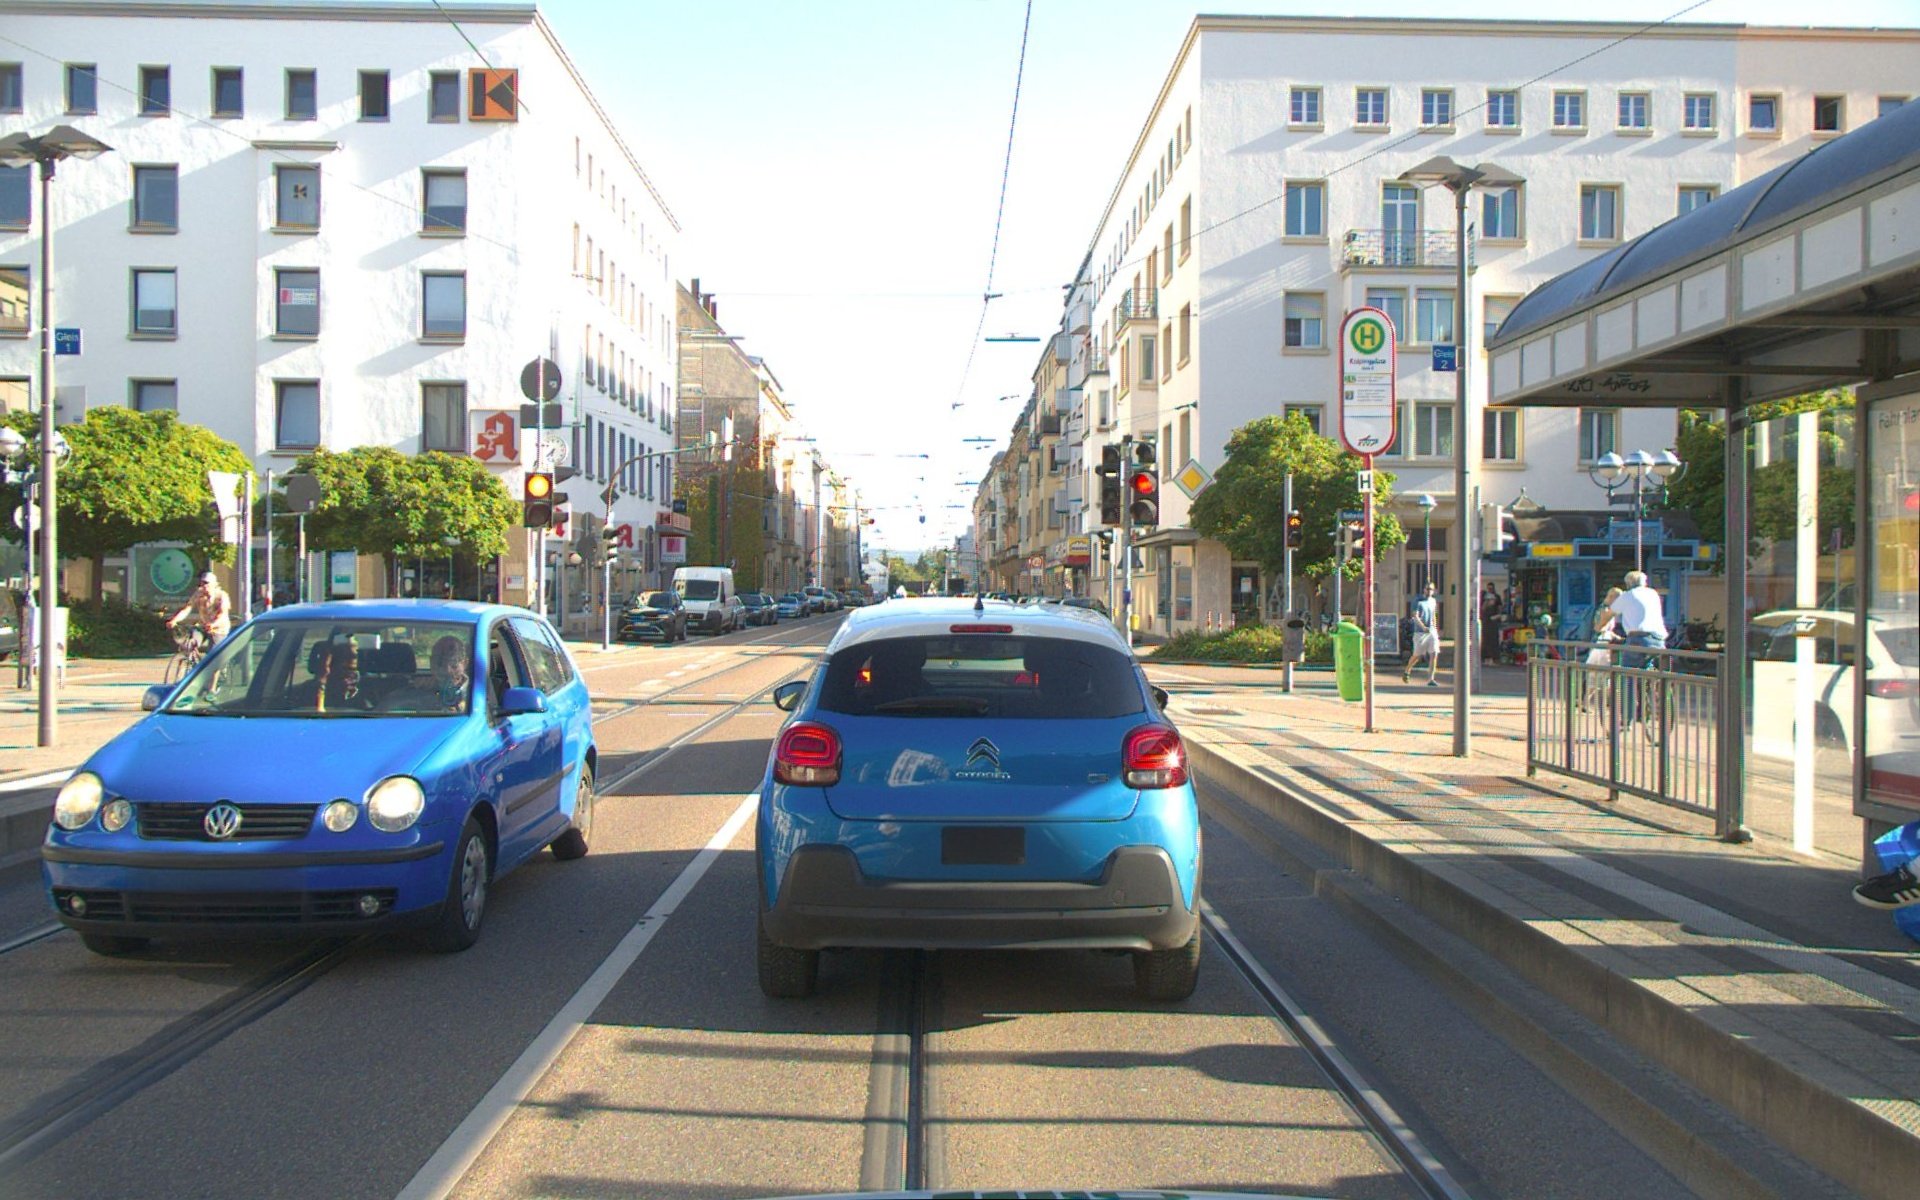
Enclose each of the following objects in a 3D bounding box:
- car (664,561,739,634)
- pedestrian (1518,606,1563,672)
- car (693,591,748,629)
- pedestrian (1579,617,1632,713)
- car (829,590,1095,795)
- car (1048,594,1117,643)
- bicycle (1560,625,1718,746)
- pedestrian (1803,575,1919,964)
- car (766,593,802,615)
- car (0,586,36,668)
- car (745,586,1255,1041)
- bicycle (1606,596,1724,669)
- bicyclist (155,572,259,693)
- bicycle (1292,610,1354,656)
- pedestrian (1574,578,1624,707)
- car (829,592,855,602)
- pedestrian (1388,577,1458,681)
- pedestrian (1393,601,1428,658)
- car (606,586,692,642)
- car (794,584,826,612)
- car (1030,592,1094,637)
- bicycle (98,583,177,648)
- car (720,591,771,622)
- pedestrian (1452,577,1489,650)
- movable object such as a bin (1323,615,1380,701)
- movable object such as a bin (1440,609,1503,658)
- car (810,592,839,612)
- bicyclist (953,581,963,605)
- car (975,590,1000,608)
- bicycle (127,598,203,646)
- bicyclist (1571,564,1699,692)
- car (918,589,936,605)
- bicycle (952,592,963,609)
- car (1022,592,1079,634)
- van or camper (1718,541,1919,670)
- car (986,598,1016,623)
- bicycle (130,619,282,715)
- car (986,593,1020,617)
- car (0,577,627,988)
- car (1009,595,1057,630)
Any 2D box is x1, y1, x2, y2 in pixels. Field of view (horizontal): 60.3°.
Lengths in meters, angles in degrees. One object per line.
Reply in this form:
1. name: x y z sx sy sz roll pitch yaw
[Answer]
1. car: -9.740 -0.111 62.761 2.043 2.586 6.203 1 0 -2
2. pedestrian: 13.092 0.874 37.306 0.715 1.434 0.755 0 3 -1
3. car: -10.054 0.400 69.604 1.850 1.522 3.560 1 0 -2
4. pedestrian: 8.597 0.860 22.048 0.546 1.247 0.527 1 -1 10
5. car: -0.022 0.679 14.660 1.944 1.490 4.814 1 0 -1
6. car: 3.860 0.560 52.643 1.870 1.489 4.000 0 0 0
7. bicycle: 6.890 0.835 16.911 0.703 1.080 2.324 2 0 2
8. pedestrian: 3.583 0.568 5.553 0.978 1.246 0.923 3 -1 -1
9. car: -10.965 0.264 103.212 1.953 1.348 3.921 1 0 -2
10. car: -22.394 0.571 35.634 3.906 1.736 1.825 0 0 -1
11. car: 0.105 0.715 7.482 1.693 1.508 3.826 1 0 -1
12. bicycle: 15.884 0.725 37.293 2.336 1.558 0.726 2 0 -2
13. bicyclist: -9.487 0.403 20.852 0.810 1.481 0.878 1 -1 10
14. bicycle: 9.422 0.854 42.952 1.534 1.140 0.300 1 -1 10
15. pedestrian: 8.994 0.593 23.287 0.546 1.775 0.527 1 -1 10
16. car: -13.190 -0.332 184.833 1.951 1.176 4.518 0 0 8
17. pedestrian: 8.670 0.539 31.028 0.961 1.910 1.128 0 -1 -3
18. pedestrian: 10.750 0.700 39.477 0.725 1.339 0.628 0 0 22
19. car: -9.796 0.446 52.464 1.953 1.596 4.401 3 0 -2
20. car: -11.492 -0.115 126.860 1.965 2.049 4.690 1 0 1
21. car: 3.506 0.480 57.215 1.953 1.489 4.000 0 0 0
22. bicycle: -21.341 0.399 42.994 0.605 1.635 2.621 0 0 3
23. car: -10.074 0.308 78.008 1.953 1.422 4.155 1 0 -2
24. pedestrian: 13.220 0.355 42.847 0.768 1.871 0.678 0 0 2
25. movable object such as a bin: 3.730 0.549 15.770 0.439 0.800 0.489 0 0 2
26. movable object such as a bin: 12.544 0.812 40.634 1.174 1.173 1.217 0 0 0
27. car: -11.201 0.148 136.662 1.914 1.579 3.939 1 0 1
28. bicyclist: -0.188 -0.602 142.570 0.793 2.049 0.922 1 -1 -1
29. car: 2.180 -0.082 133.499 1.953 1.489 4.000 0 0 0
30. bicycle: -20.632 0.557 42.981 0.605 1.211 2.621 0 0 2
31. bicyclist: 6.913 0.276 16.985 0.931 1.247 0.934 2 0 2
32. car: -3.581 -0.352 181.851 1.953 1.803 3.999 0 0 -1
33. bicycle: -0.225 0.033 142.600 0.901 1.413 3.131 0 0 -1
34. car: 3.409 0.472 63.180 1.953 1.527 4.000 0 0 0
35. van or camper: 20.974 0.090 36.947 6.976 2.795 2.371 0 1 0
36. car: 2.711 0.670 109.569 1.952 1.579 4.001 0 0 2
37. bicycle: -9.482 0.814 20.895 0.712 1.132 1.978 1 0 11
38. car: 2.656 0.295 102.272 1.953 1.489 4.504 0 0 0
39. car: -2.815 0.663 8.121 1.633 1.513 3.999 0 0 -1
40. car: 3.195 0.545 73.391 1.953 1.489 4.000 0 0 0
